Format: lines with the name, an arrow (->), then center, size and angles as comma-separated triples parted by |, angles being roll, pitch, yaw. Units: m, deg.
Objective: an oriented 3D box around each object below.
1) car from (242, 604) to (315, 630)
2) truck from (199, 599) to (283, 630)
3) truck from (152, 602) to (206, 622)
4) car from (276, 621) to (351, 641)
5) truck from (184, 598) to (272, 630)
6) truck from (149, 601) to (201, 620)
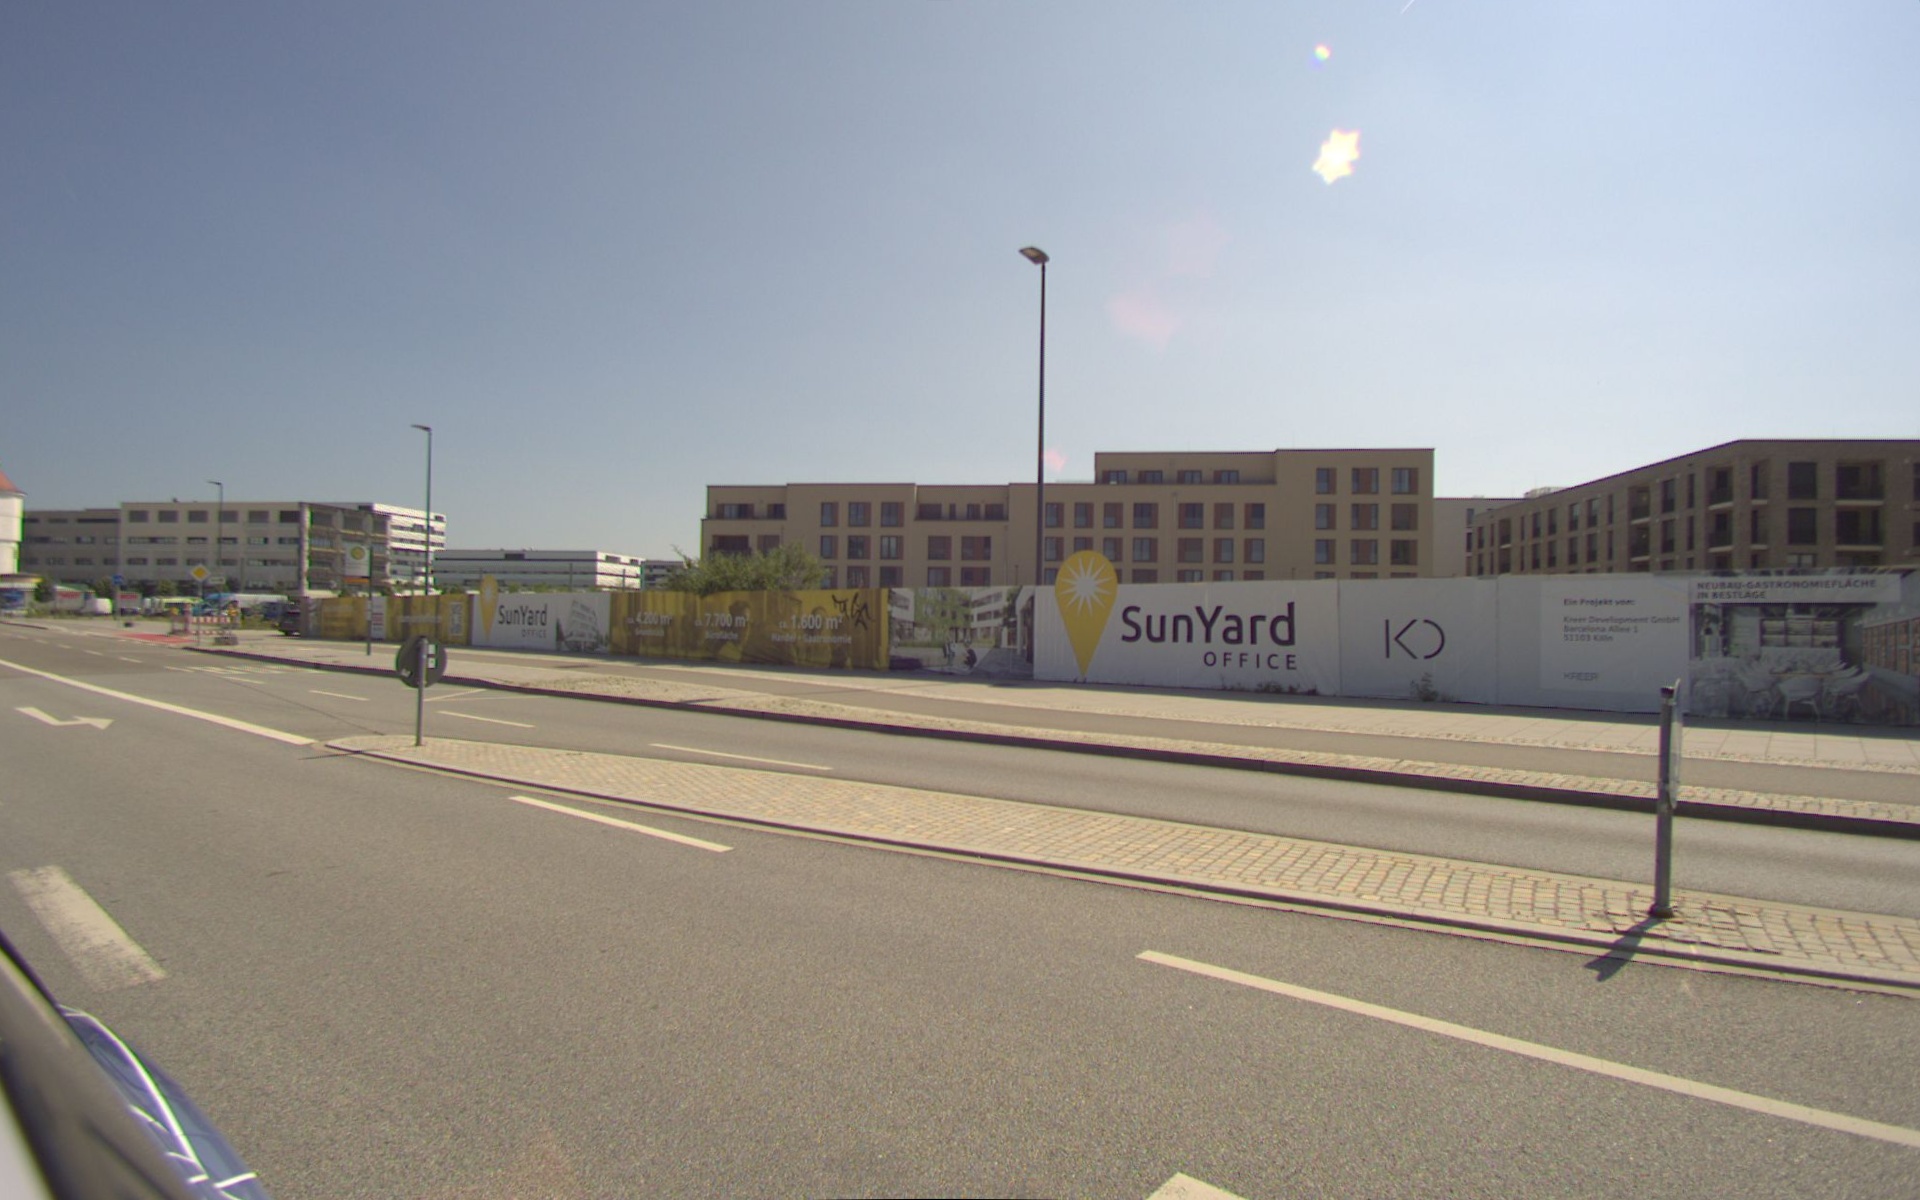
car -> -48.138, 1.172, 71.496 | 1.888, 1.731, 3.884 | -1, 0, 36
truck -> -55.125, 1.075, 77.644 | 1.998, 2.245, 4.942 | -1, 0, 40
truck -> -102.217, 1.568, 132.513 | 1.997, 2.494, 5.269 | -1, 0, 37
car -> -36.182, 1.715, 56.654 | 1.293, 0.960, 3.314 | -1, 0, 43
truck -> -60.201, 1.095, 83.308 | 1.997, 2.494, 5.566 | -1, 0, 37
truck -> -107.537, 1.429, 138.672 | 1.998, 2.494, 5.345 | -1, 0, 39
